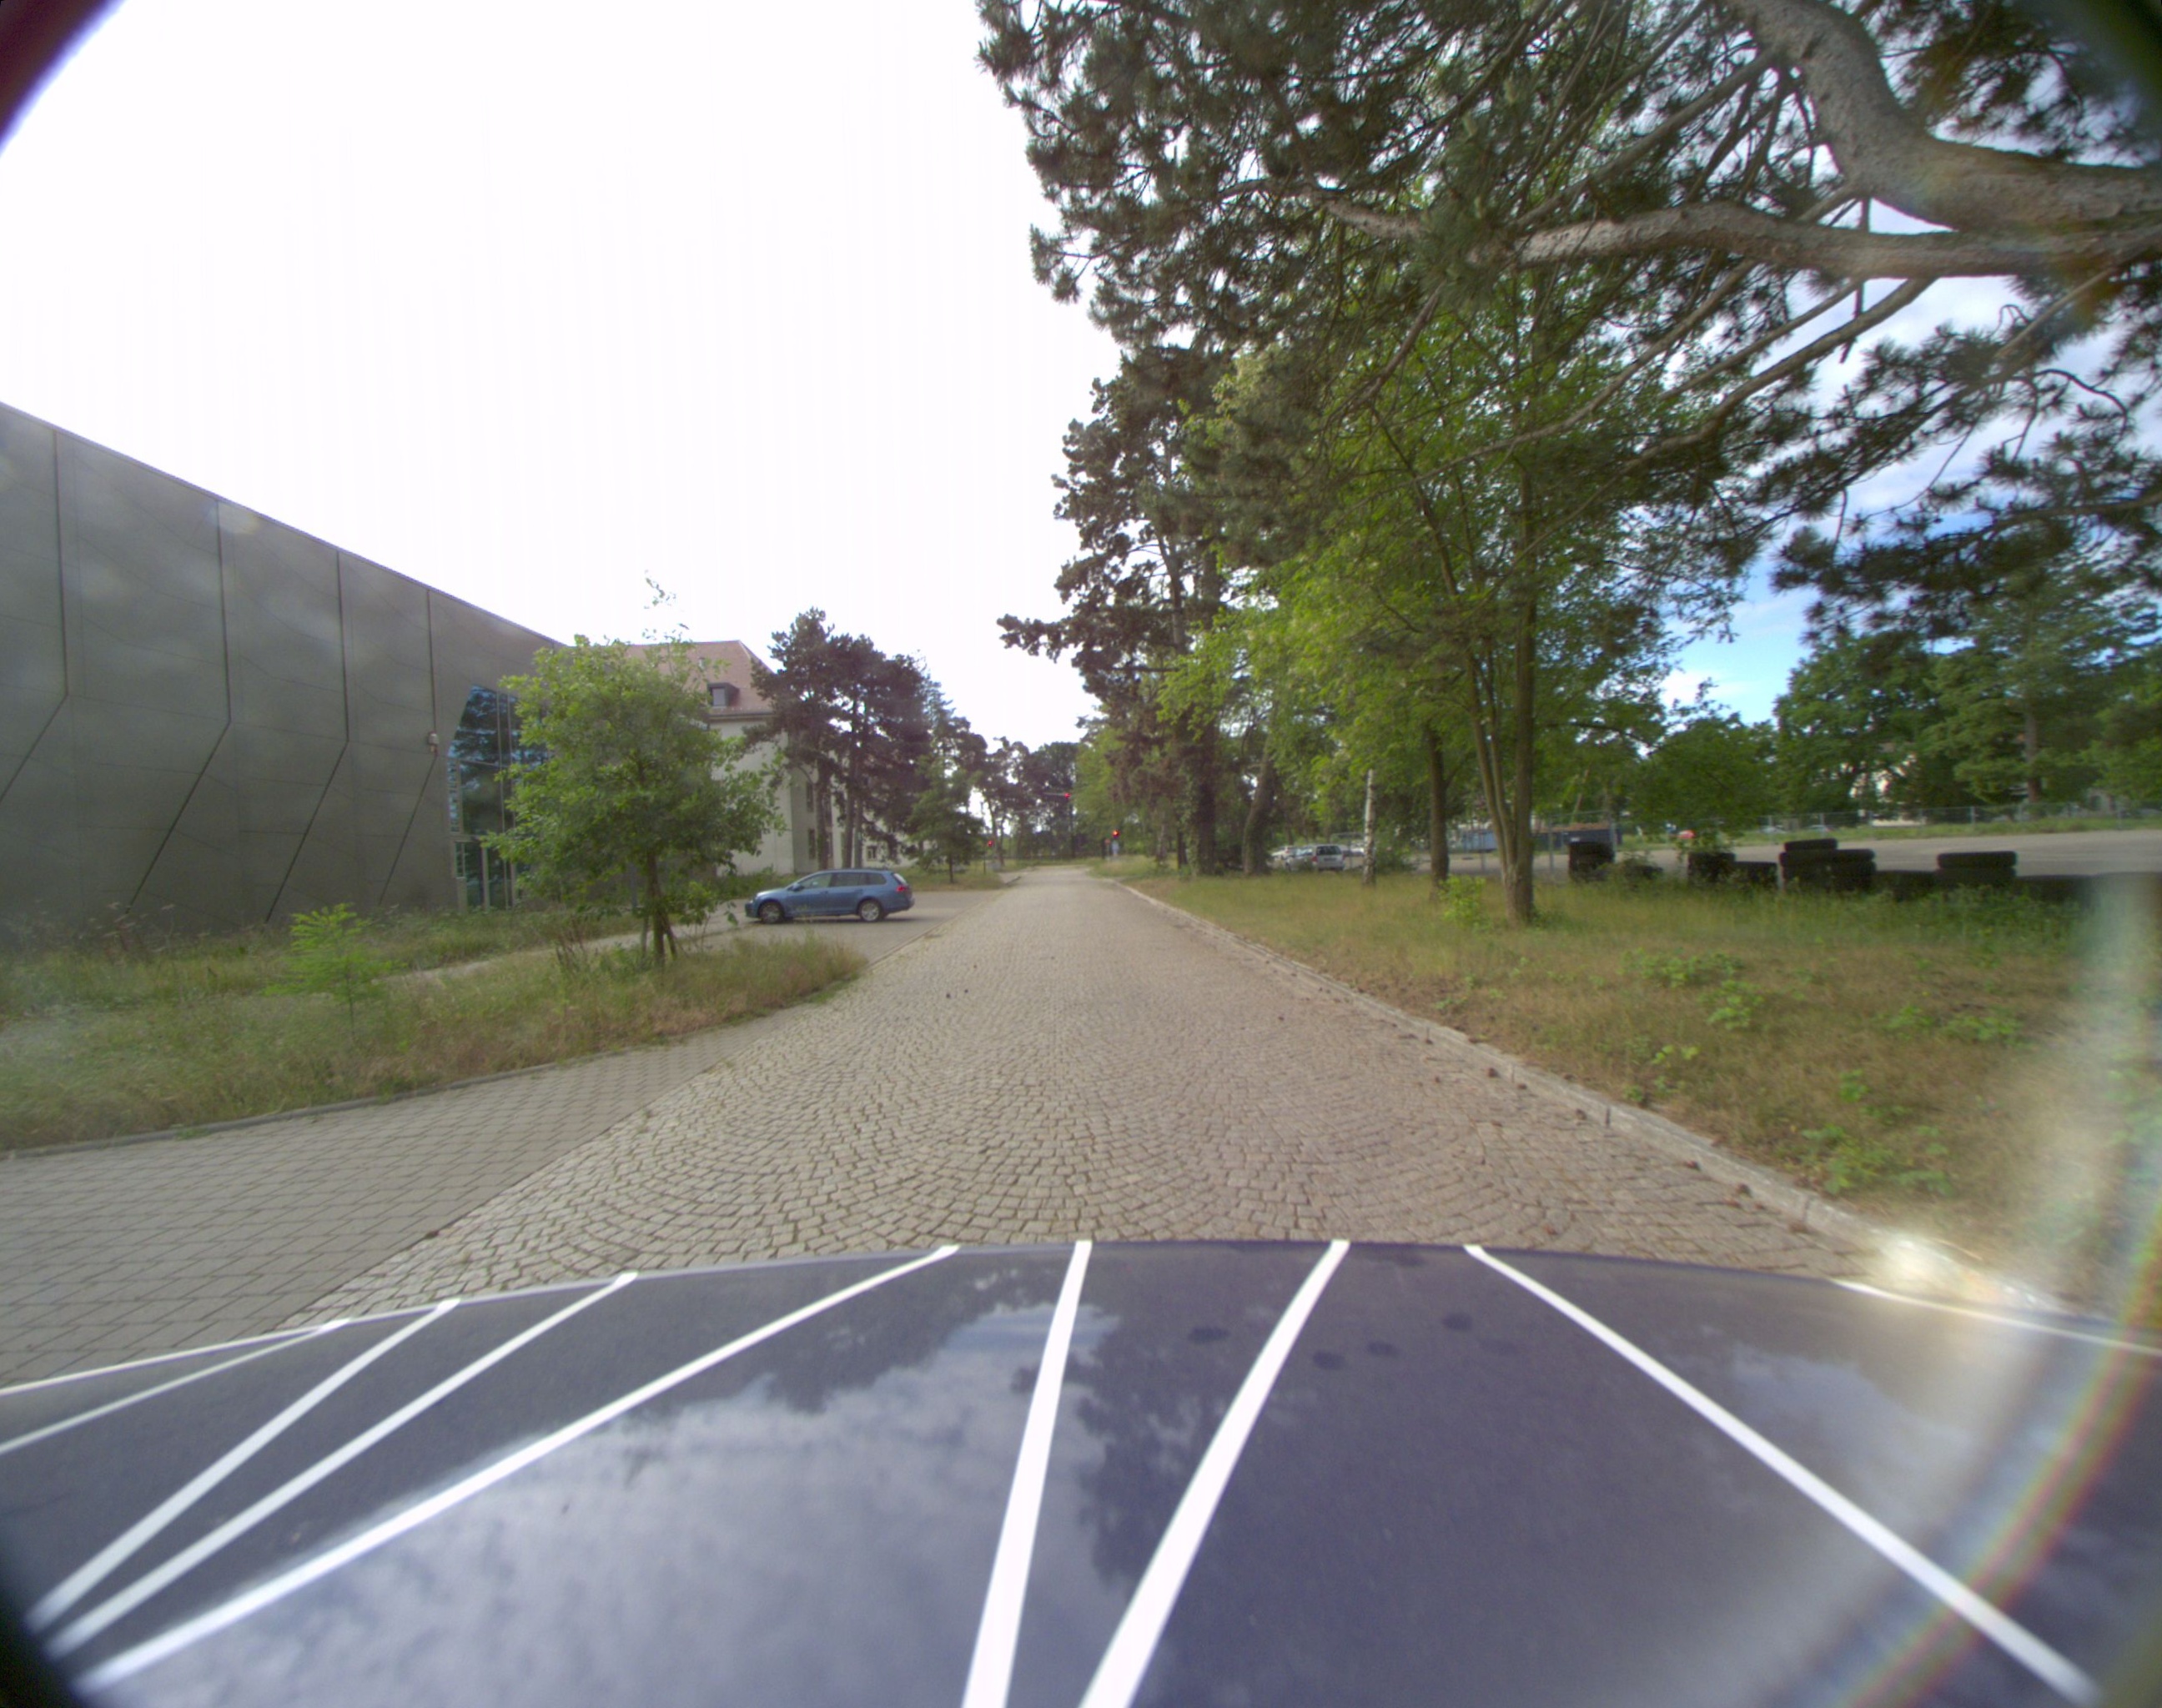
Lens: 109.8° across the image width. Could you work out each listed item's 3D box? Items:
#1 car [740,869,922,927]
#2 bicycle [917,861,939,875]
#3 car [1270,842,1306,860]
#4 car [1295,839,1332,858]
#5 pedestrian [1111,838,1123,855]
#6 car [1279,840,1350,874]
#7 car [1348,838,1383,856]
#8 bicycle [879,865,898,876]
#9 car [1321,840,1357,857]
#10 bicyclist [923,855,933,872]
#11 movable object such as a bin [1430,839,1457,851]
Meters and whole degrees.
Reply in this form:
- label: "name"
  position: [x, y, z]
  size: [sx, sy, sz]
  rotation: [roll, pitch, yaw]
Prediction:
- label: "car"
  position: [-6.914, 1.204, 21.432]
  size: [4.535, 1.435, 1.822]
  rotation: [-1, 0, -5]
- label: "bicycle"
  position: [-15.838, 1.450, 78.820]
  size: [2.164, 1.268, 0.963]
  rotation: [-3, 1, -12]
- label: "car"
  position: [20.189, -0.281, 74.308]
  size: [1.840, 1.441, 4.655]
  rotation: [-3, -2, -4]
- label: "car"
  position: [22.778, -0.500, 74.666]
  size: [1.840, 1.568, 4.584]
  rotation: [-3, -2, -4]
- label: "pedestrian"
  position: [3.334, -0.657, 69.863]
  size: [0.883, 1.509, 0.822]
  rotation: [-3, 1, 12]
- label: "car"
  position: [11.131, 0.147, 36.572]
  size: [1.720, 1.430, 4.465]
  rotation: [-3, 0, -4]
- label: "car"
  position: [28.153, -0.677, 75.349]
  size: [1.737, 1.512, 4.114]
  rotation: [-3, -2, -2]
- label: "bicycle"
  position: [-20.064, 1.705, 79.174]
  size: [1.836, 1.079, 0.572]
  rotation: [-3, 2, 1]
- label: "car"
  position: [25.421, -0.517, 74.978]
  size: [1.840, 1.460, 4.585]
  rotation: [-3, -1, -2]
- label: "bicyclist"
  position: [-15.903, 0.985, 78.818]
  size: [0.918, 1.626, 0.963]
  rotation: [-3, 1, -12]
- label: "movable object such as a bin"
  position: [29.700, -0.720, 62.296]
  size: [1.041, 0.927, 1.934]
  rotation: [-2, 0, -9]
